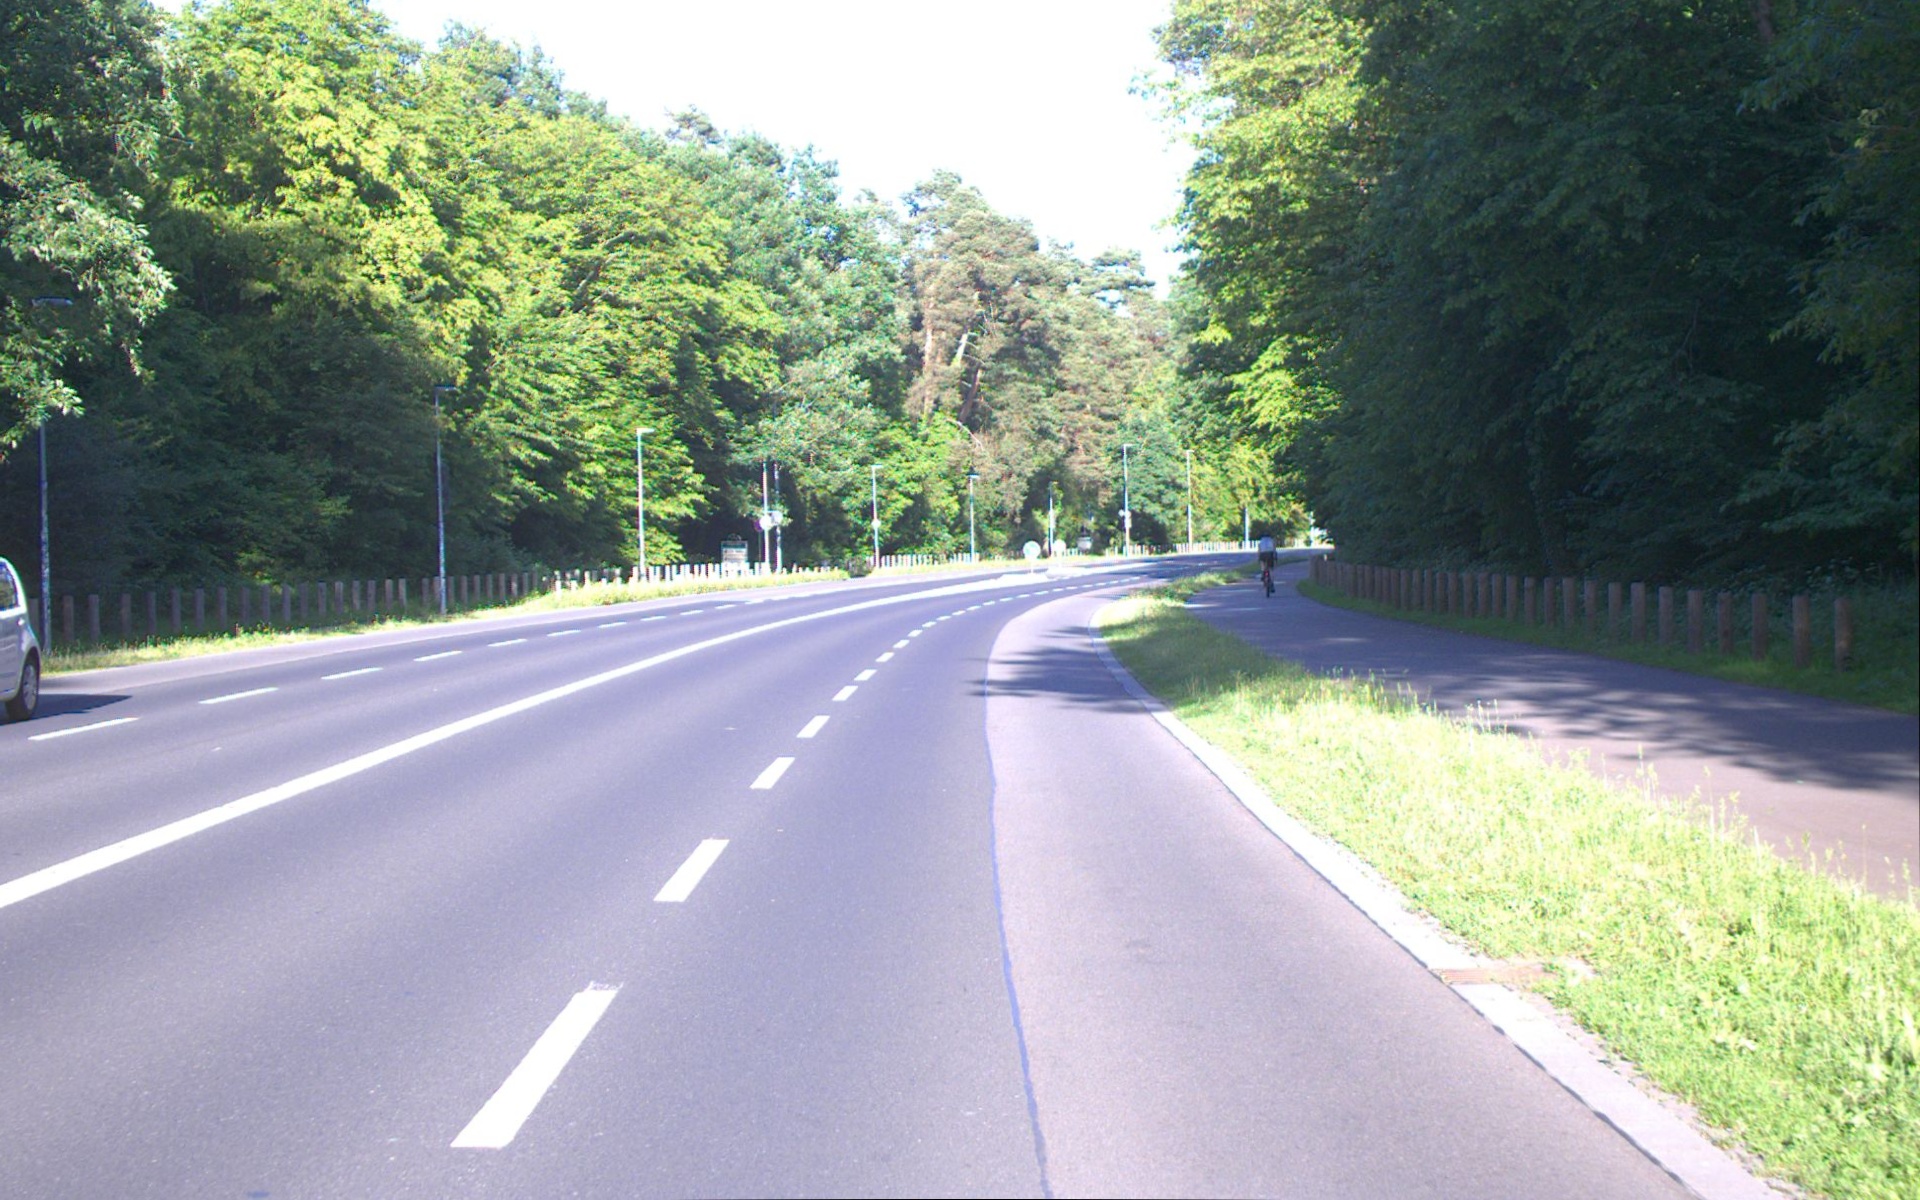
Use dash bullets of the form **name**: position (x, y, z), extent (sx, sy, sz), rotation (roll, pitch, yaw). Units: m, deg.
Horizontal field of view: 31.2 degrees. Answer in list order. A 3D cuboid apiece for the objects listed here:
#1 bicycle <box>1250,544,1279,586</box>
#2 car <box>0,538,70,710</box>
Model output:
- **bicycle**: position (7.838, -0.912, 88.445), extent (0.712, 1.052, 2.052), rotation (0, 1, 6)
- **car**: position (-8.839, 0.193, 28.830), extent (1.587, 1.432, 4.309), rotation (1, 1, 0)
